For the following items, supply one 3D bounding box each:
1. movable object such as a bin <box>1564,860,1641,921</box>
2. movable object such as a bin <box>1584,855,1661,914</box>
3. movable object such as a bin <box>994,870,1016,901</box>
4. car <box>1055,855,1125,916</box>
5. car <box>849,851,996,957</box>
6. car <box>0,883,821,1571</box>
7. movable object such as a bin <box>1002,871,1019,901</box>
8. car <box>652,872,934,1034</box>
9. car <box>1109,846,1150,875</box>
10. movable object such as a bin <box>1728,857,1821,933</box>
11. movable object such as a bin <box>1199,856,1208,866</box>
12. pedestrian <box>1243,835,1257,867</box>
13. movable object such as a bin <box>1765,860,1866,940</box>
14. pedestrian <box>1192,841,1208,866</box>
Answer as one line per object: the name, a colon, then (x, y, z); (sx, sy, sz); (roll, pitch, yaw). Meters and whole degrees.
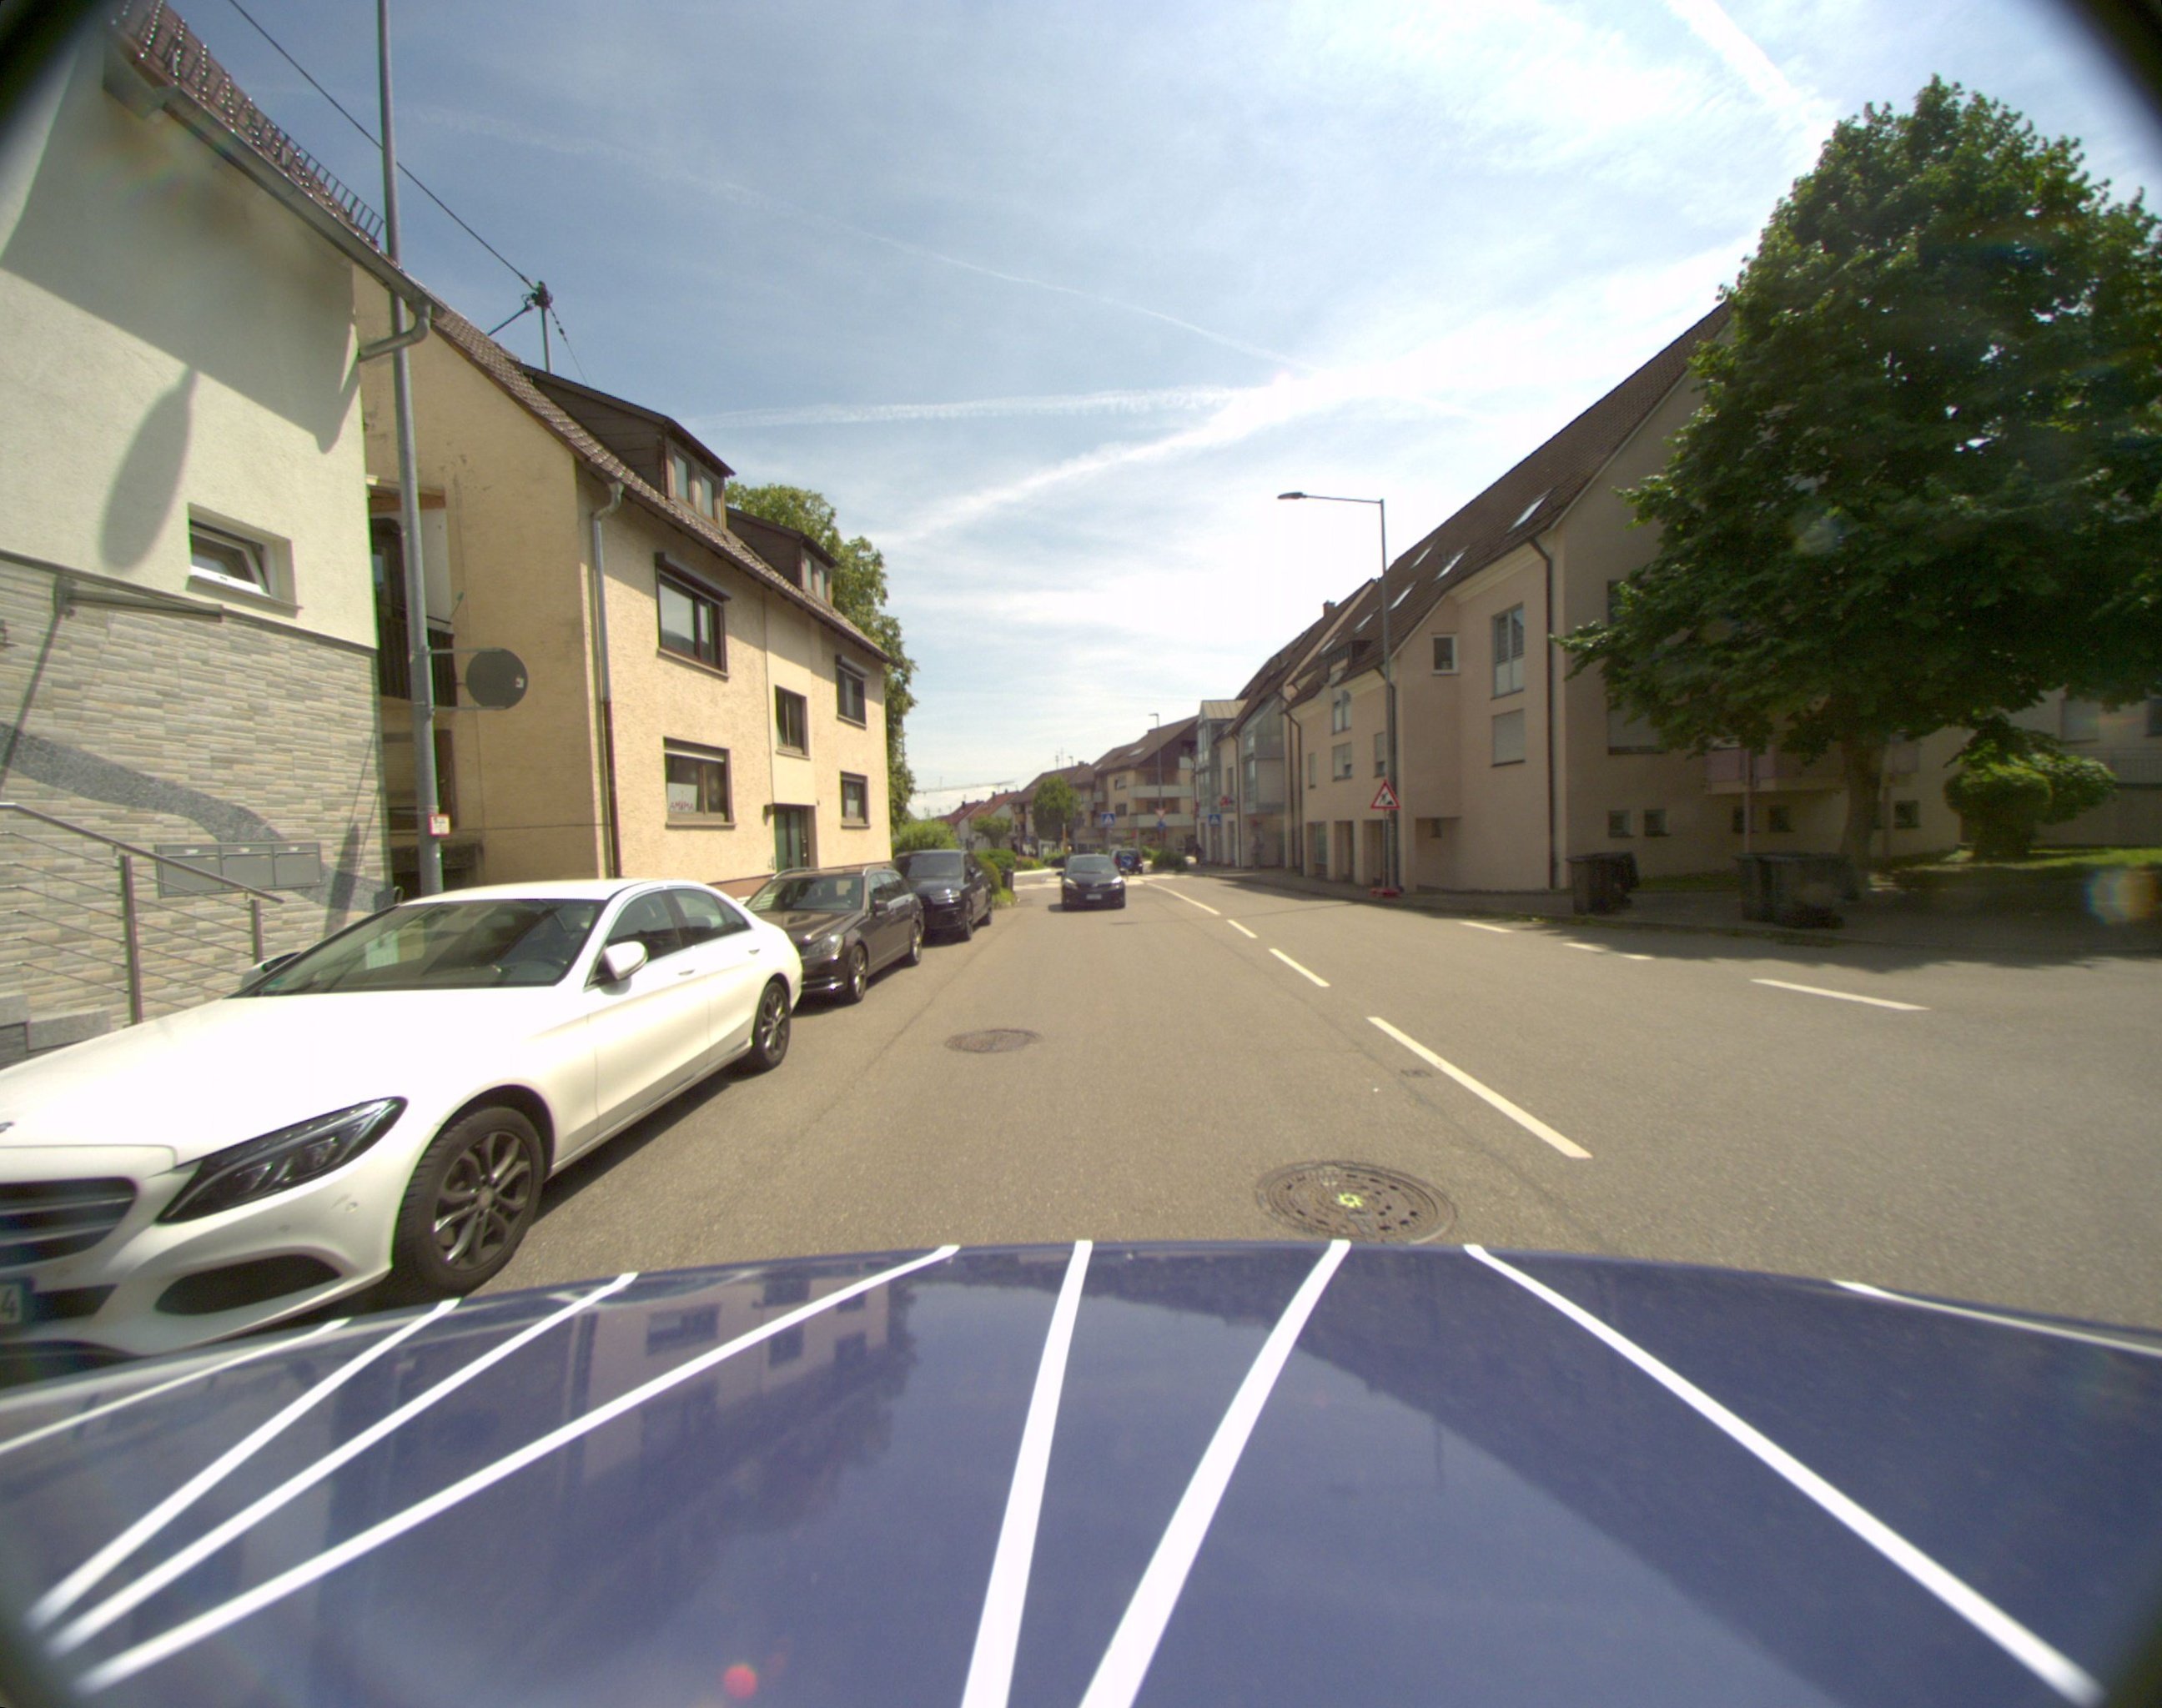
movable object such as a bin: (9.103, 0.624, 13.286); (0.853, 0.994, 0.694); (-2, 1, 2)
movable object such as a bin: (9.914, 0.550, 13.935); (0.802, 0.994, 0.805); (-4, 1, 2)
movable object such as a bin: (-2.527, 1.038, 25.350); (0.525, 0.987, 0.502); (-3, 0, 14)
car: (0.214, 0.812, 21.512); (1.725, 1.448, 4.429); (-2, 0, -1)
car: (-2.949, 0.842, 15.238); (1.848, 1.660, 4.655); (-3, 1, 1)
car: (-3.074, 1.001, 4.148); (1.793, 1.447, 4.715); (-2, 0, -2)
movable object such as a bin: (-2.435, 1.082, 26.179); (0.502, 0.987, 0.503); (-3, 1, -8)
car: (-3.204, 1.007, 9.521); (1.793, 1.412, 4.358); (-1, 0, 1)
car: (2.856, 0.340, 45.461); (1.757, 1.575, 3.942); (-3, 1, -6)
movable object such as a bin: (10.275, 0.597, 11.278); (0.773, 0.995, 0.609); (-6, 3, 2)
movable object such as a bin: (7.494, 0.437, 46.427); (0.459, 0.578, 0.469); (-3, 1, 1)
pedestrian: (9.272, -0.168, 41.729); (0.577, 1.699, 0.579); (-4, 1, 2)
movable object such as a bin: (10.265, 0.631, 10.641); (0.773, 0.995, 0.609); (-6, 3, 3)
pedestrian: (7.318, -0.057, 46.737); (0.802, 1.469, 0.957); (-3, 1, 1)
